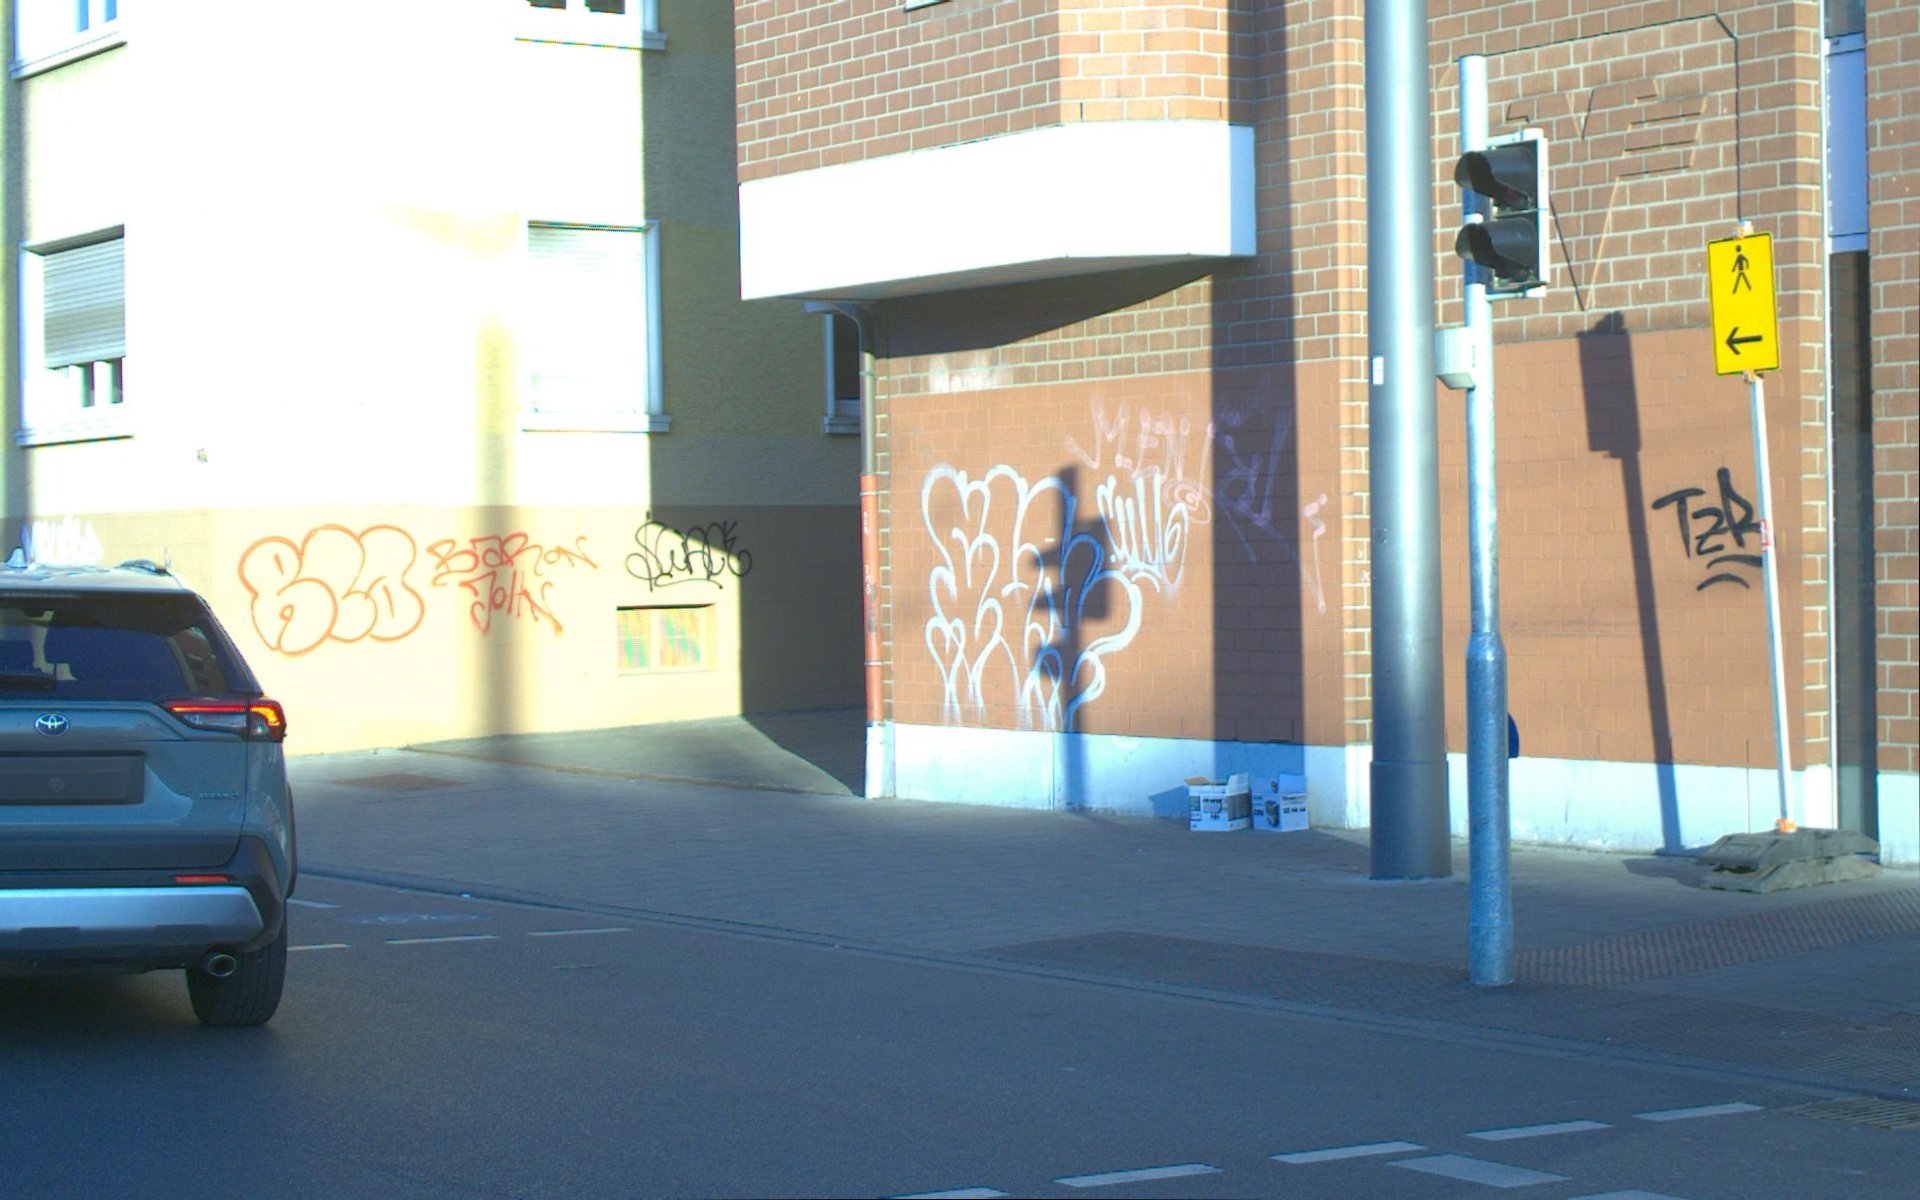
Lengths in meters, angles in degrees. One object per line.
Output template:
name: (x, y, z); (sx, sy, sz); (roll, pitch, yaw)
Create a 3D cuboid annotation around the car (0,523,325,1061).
car: (-3.780, 0.634, 12.905); (1.857, 1.708, 4.193); (1, -1, -23)
